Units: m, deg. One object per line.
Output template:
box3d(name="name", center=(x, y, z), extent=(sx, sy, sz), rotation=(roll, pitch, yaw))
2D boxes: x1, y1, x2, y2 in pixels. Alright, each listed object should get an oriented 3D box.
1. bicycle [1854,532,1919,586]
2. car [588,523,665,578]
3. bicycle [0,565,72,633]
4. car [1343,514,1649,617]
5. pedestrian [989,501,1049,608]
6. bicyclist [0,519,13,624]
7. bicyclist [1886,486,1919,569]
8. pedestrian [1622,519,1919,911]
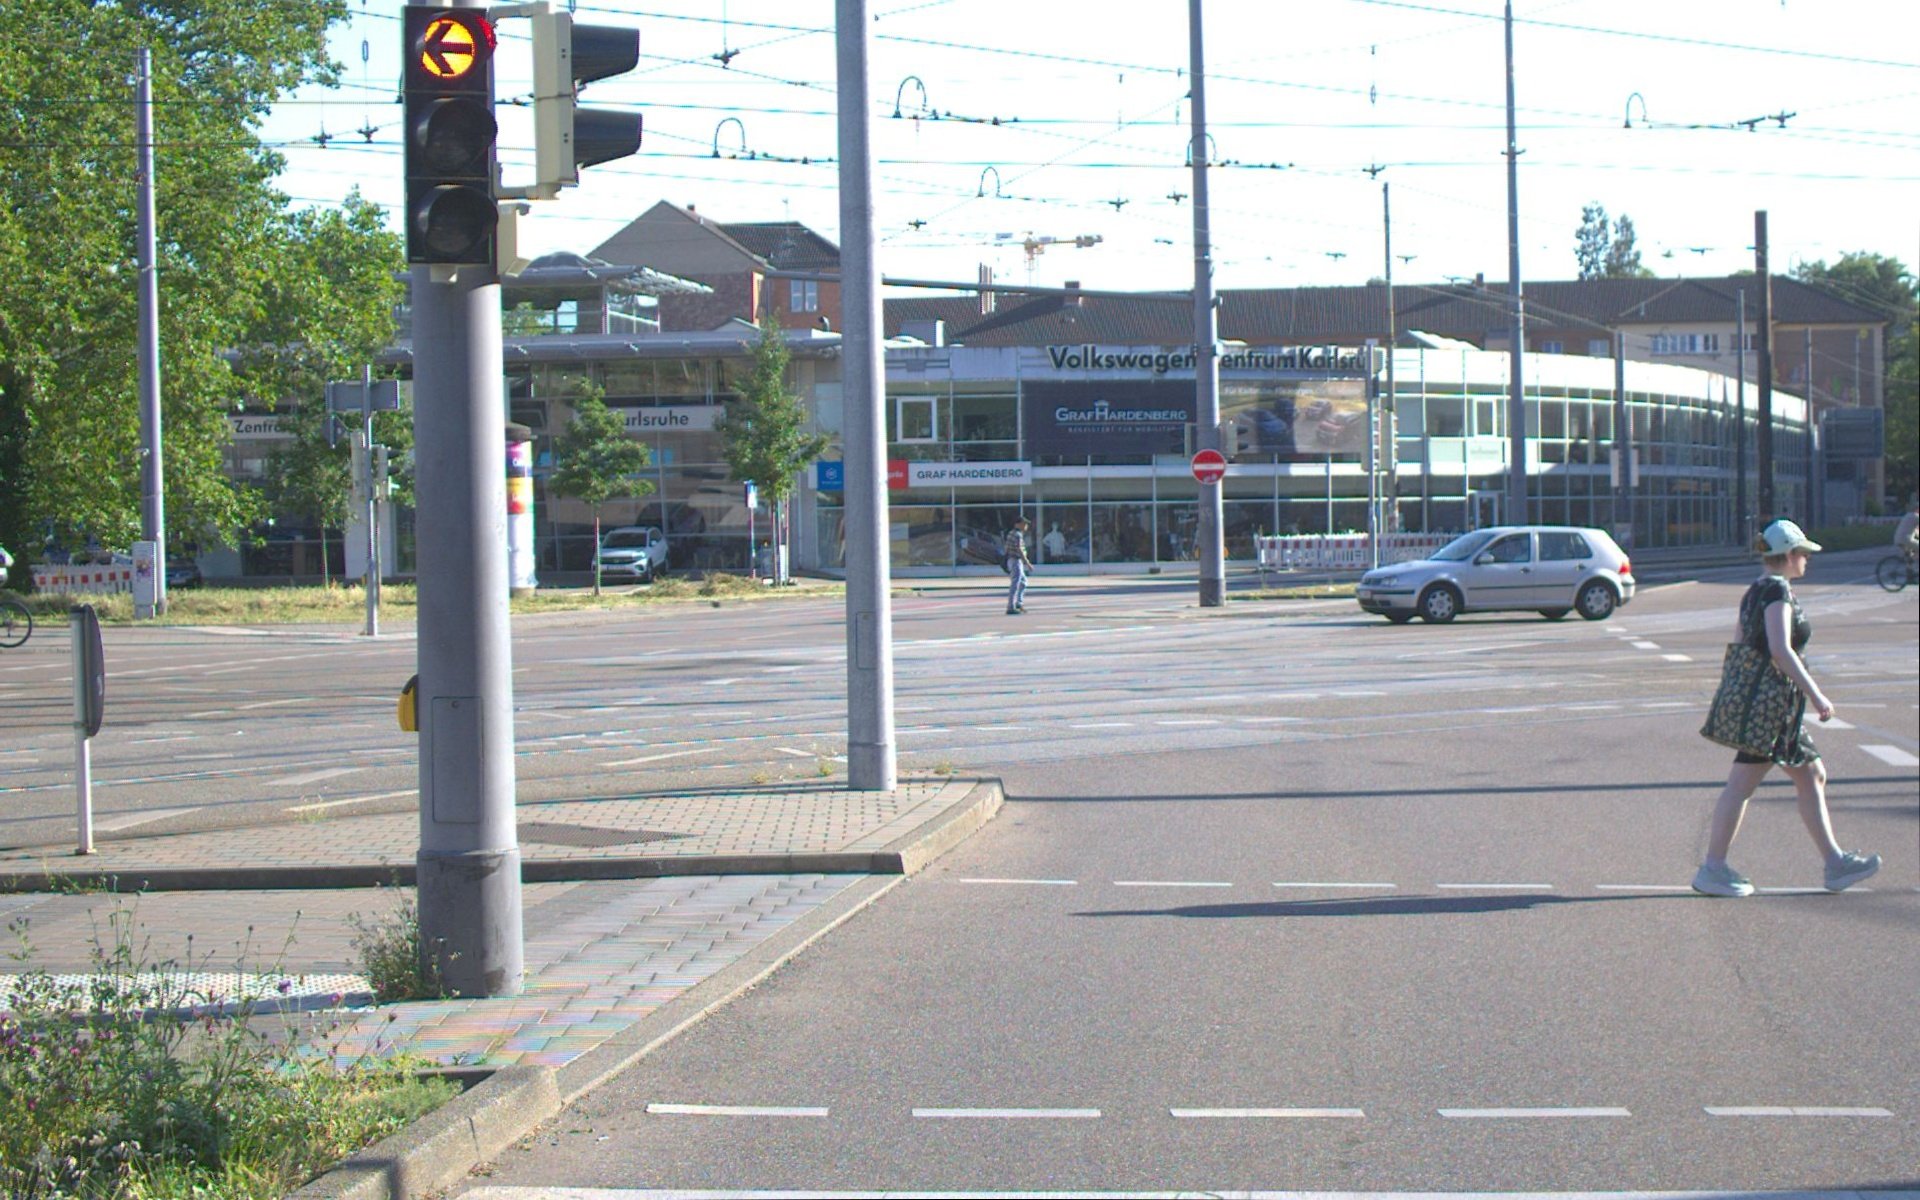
box3d(name="bicycle", center=(18.301, -0.786, 65.563), extent=(2.295, 0.976, 0.860), rotation=(-1, 3, -17))
box3d(name="car", center=(-10.232, -1.537, 105.728), extent=(1.993, 1.529, 4.001), rotation=(0, 3, 0))
box3d(name="bicycle", center=(-14.607, -0.009, 51.517), extent=(2.437, 1.000, 0.963), rotation=(-1, 1, -10))
box3d(name="car", center=(7.996, -0.533, 51.449), extent=(4.093, 1.447, 1.954), rotation=(-1, 1, -11))
box3d(name="pedestrian", center=(1.022, -0.794, 59.437), extent=(0.989, 1.810, 0.920), rotation=(0, 3, 4))
box3d(name="bicyclist", center=(-14.722, -0.430, 51.490), extent=(0.923, 1.554, 0.963), rotation=(-1, 1, -10))
box3d(name="bicyclist", center=(18.304, -1.390, 65.560), extent=(0.923, 1.554, 0.860), rotation=(-1, 3, -17))
box3d(name="pedestrian", center=(3.451, 0.469, 14.586), extent=(1.092, 1.601, 0.699), rotation=(0, 3, -5))
